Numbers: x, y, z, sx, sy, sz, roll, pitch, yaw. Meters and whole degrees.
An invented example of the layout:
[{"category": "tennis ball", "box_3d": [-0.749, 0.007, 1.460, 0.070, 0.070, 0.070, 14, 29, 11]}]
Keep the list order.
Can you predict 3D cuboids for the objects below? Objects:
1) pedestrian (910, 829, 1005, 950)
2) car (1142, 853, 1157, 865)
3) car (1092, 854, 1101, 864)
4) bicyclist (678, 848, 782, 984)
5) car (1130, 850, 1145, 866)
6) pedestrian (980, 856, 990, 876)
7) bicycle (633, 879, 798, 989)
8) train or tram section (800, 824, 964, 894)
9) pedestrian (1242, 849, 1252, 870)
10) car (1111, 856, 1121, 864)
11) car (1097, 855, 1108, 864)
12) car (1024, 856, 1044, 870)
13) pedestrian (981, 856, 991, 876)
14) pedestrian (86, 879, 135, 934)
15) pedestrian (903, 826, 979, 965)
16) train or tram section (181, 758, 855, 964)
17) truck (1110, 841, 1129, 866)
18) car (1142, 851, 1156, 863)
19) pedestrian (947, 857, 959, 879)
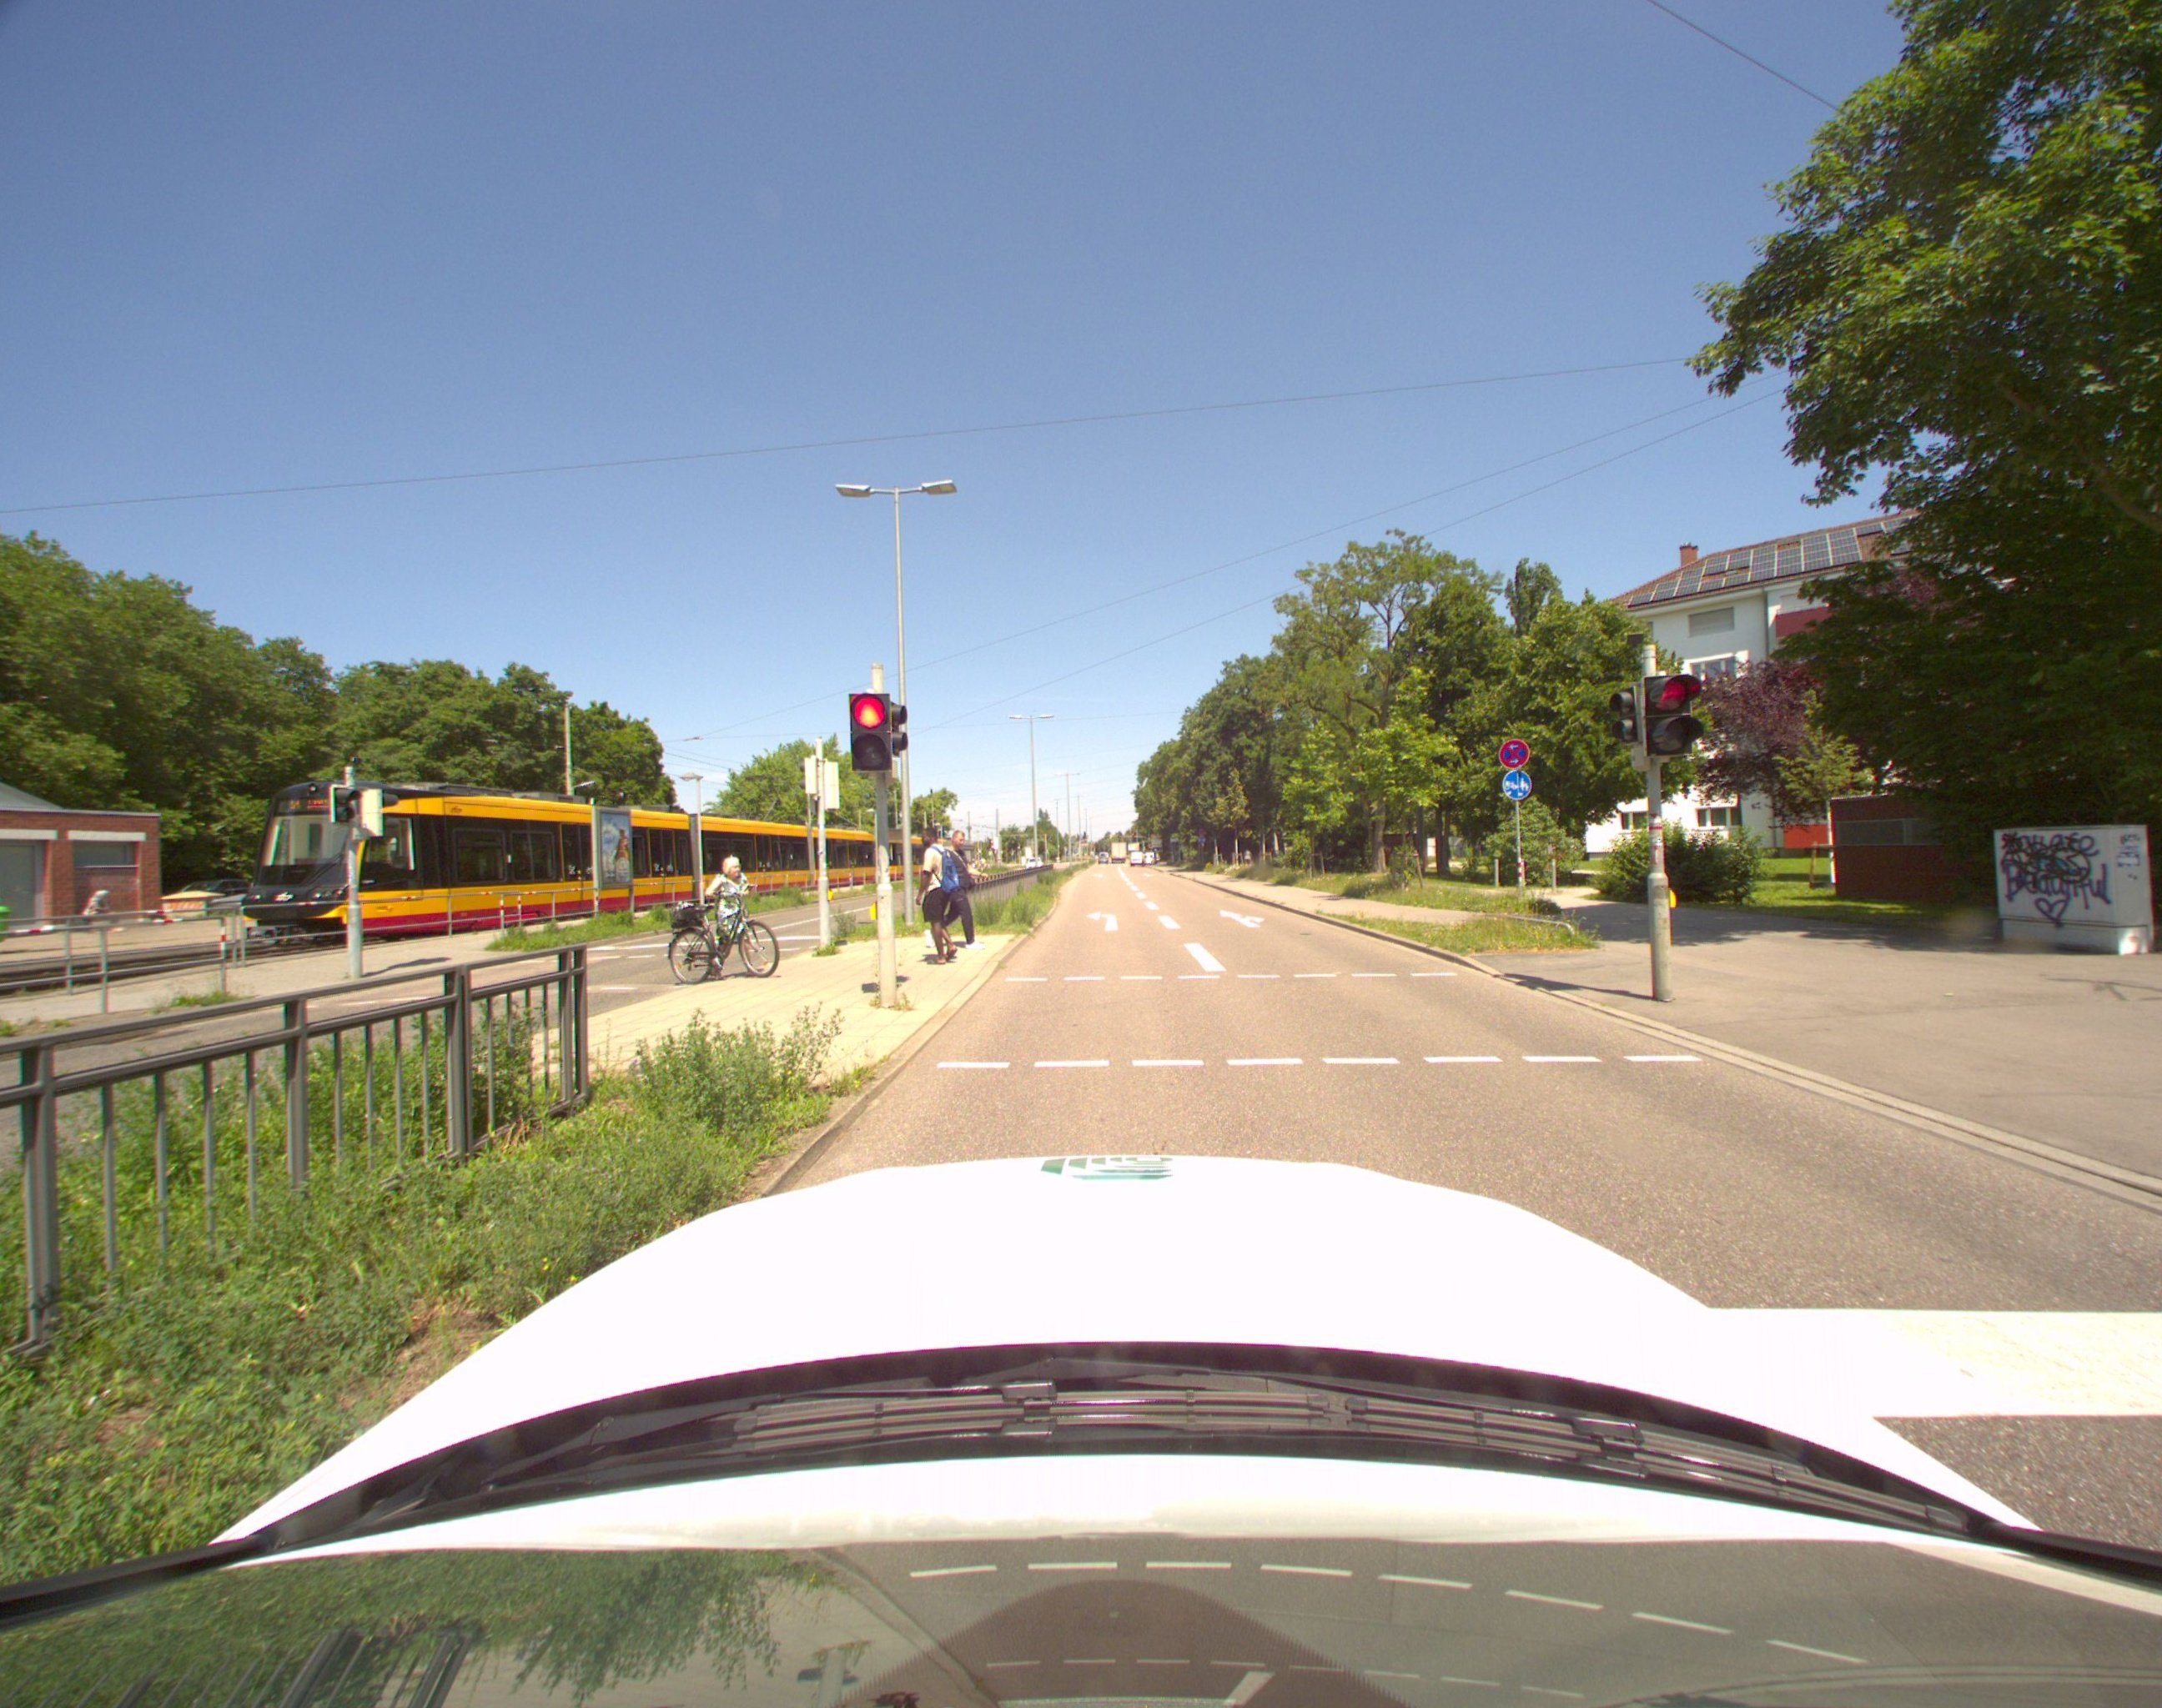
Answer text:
[{"category": "pedestrian", "box_3d": [-1.920, 0.541, 12.650, 1.173, 1.778, 0.845, -2, -2, 32]}, {"category": "car", "box_3d": [9.395, 0.693, 112.435, 1.773, 1.668, 4.002, -2, 0, 2]}, {"category": "car", "box_3d": [3.342, 1.057, 175.347, 1.986, 2.013, 4.002, -2, 0, 2]}, {"category": "bicyclist", "box_3d": [-4.635, 0.812, 10.762, 0.949, 1.666, 0.583, -7, -1, 20]}, {"category": "car", "box_3d": [7.145, 0.523, 103.547, 1.773, 1.903, 4.002, -2, 0, 2]}, {"category": "pedestrian", "box_3d": [-9.861, 1.219, 83.859, 0.812, 2.013, 0.939, -2, 0, 1]}, {"category": "bicycle", "box_3d": [-4.603, 1.014, 10.238, 1.941, 1.161, 0.544, -7, -1, 20]}, {"category": "train or tram section", "box_3d": [-13.401, 0.269, 61.656, 2.919, 3.789, 33.105, -2, 0, 2]}, {"category": "pedestrian", "box_3d": [11.972, 0.386, 58.734, 0.600, 1.438, 0.557, -2, 0, 8]}, {"category": "car", "box_3d": [6.500, 1.109, 153.703, 1.804, 1.464, 4.002, -2, 0, 2]}, {"category": "car", "box_3d": [3.636, 0.974, 137.630, 1.804, 1.464, 4.002, -2, 0, 2]}, {"category": "car", "box_3d": [-5.327, 1.031, 93.025, 1.838, 1.494, 3.793, -2, 0, 2]}, {"category": "pedestrian", "box_3d": [-9.900, 1.229, 85.039, 0.812, 2.013, 0.939, -2, 0, 1]}, {"category": "pedestrian", "box_3d": [-26.681, 1.435, 22.401, 0.636, 1.480, 0.570, -2, 0, 1]}, {"category": "pedestrian", "box_3d": [-1.841, 0.525, 10.805, 0.837, 1.777, 0.720, -1, 2, 1]}, {"category": "train or tram section", "box_3d": [-14.660, 0.121, 30.146, 2.946, 3.749, 30.048, -2, 0, 2]}, {"category": "truck", "box_3d": [6.789, -0.115, 146.207, 3.193, 4.359, 6.563, -2, 0, 2]}, {"category": "car", "box_3d": [9.917, 0.433, 118.776, 1.773, 1.668, 4.002, -2, 0, 2]}, {"category": "pedestrian", "box_3d": [-10.975, 1.186, 69.746, 0.783, 1.868, 0.818, -2, 0, 1]}]
